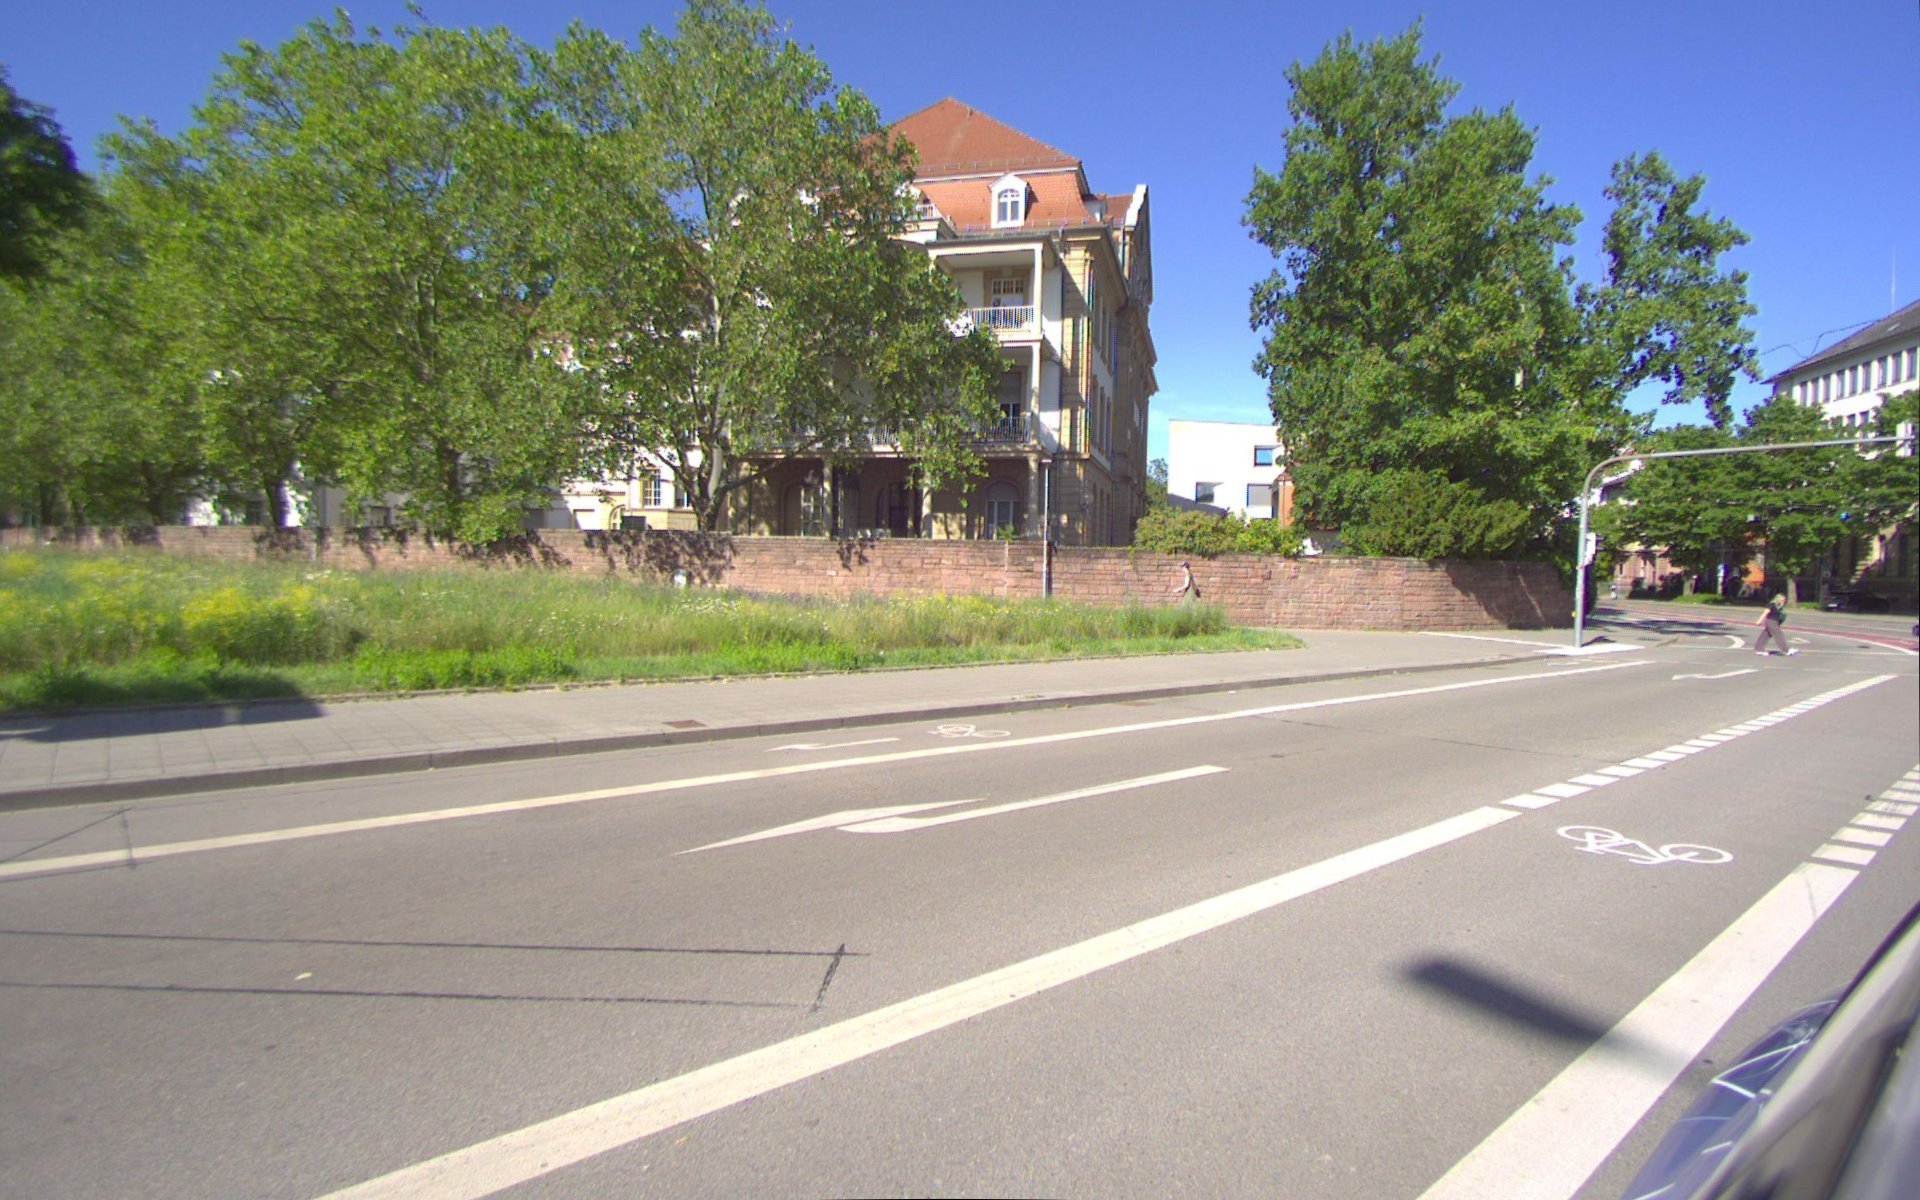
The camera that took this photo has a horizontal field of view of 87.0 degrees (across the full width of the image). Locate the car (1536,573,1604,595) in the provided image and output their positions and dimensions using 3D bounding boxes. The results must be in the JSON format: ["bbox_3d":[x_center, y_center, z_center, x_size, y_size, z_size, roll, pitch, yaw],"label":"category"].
[{"bbox_3d":[47.461,-1.236,78.858,1.960,1.610,4.857,0,0,-6],"label":"car"}]

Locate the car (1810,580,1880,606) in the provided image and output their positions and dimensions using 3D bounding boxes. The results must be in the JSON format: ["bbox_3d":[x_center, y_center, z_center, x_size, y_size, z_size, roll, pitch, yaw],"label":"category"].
[{"bbox_3d":[60.316,-0.511,69.054,1.806,1.615,3.988,2,2,11],"label":"car"}]

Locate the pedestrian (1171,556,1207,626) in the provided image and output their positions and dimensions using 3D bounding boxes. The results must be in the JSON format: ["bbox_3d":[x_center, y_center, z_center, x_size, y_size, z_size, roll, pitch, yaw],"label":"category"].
[{"bbox_3d":[6.270,-0.260,27.756,0.772,1.881,0.631,1,1,-3],"label":"pedestrian"}]

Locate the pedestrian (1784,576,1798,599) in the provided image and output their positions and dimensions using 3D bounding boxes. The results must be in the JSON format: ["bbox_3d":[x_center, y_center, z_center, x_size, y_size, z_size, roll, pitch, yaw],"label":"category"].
[{"bbox_3d":[69.380,-1.066,84.493,0.568,1.927,0.849,1,1,12],"label":"pedestrian"}]

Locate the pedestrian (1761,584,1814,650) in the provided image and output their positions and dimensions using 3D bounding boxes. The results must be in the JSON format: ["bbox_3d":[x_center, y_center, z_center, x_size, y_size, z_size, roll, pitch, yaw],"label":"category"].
[{"bbox_3d":[21.817,0.435,26.689,0.619,1.687,0.931,0,2,-40],"label":"pedestrian"}]

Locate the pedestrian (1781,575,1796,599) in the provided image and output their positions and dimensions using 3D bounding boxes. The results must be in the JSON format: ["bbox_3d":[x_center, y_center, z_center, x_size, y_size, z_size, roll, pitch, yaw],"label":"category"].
[{"bbox_3d":[68.033,-1.045,83.061,0.568,1.927,0.849,1,1,12],"label":"pedestrian"}]

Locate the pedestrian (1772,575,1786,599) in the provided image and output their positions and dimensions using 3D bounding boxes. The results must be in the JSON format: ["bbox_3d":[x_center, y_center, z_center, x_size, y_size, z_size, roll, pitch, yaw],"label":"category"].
[{"bbox_3d":[67.340,-1.042,83.205,0.568,1.927,0.781,1,1,12],"label":"pedestrian"}]
